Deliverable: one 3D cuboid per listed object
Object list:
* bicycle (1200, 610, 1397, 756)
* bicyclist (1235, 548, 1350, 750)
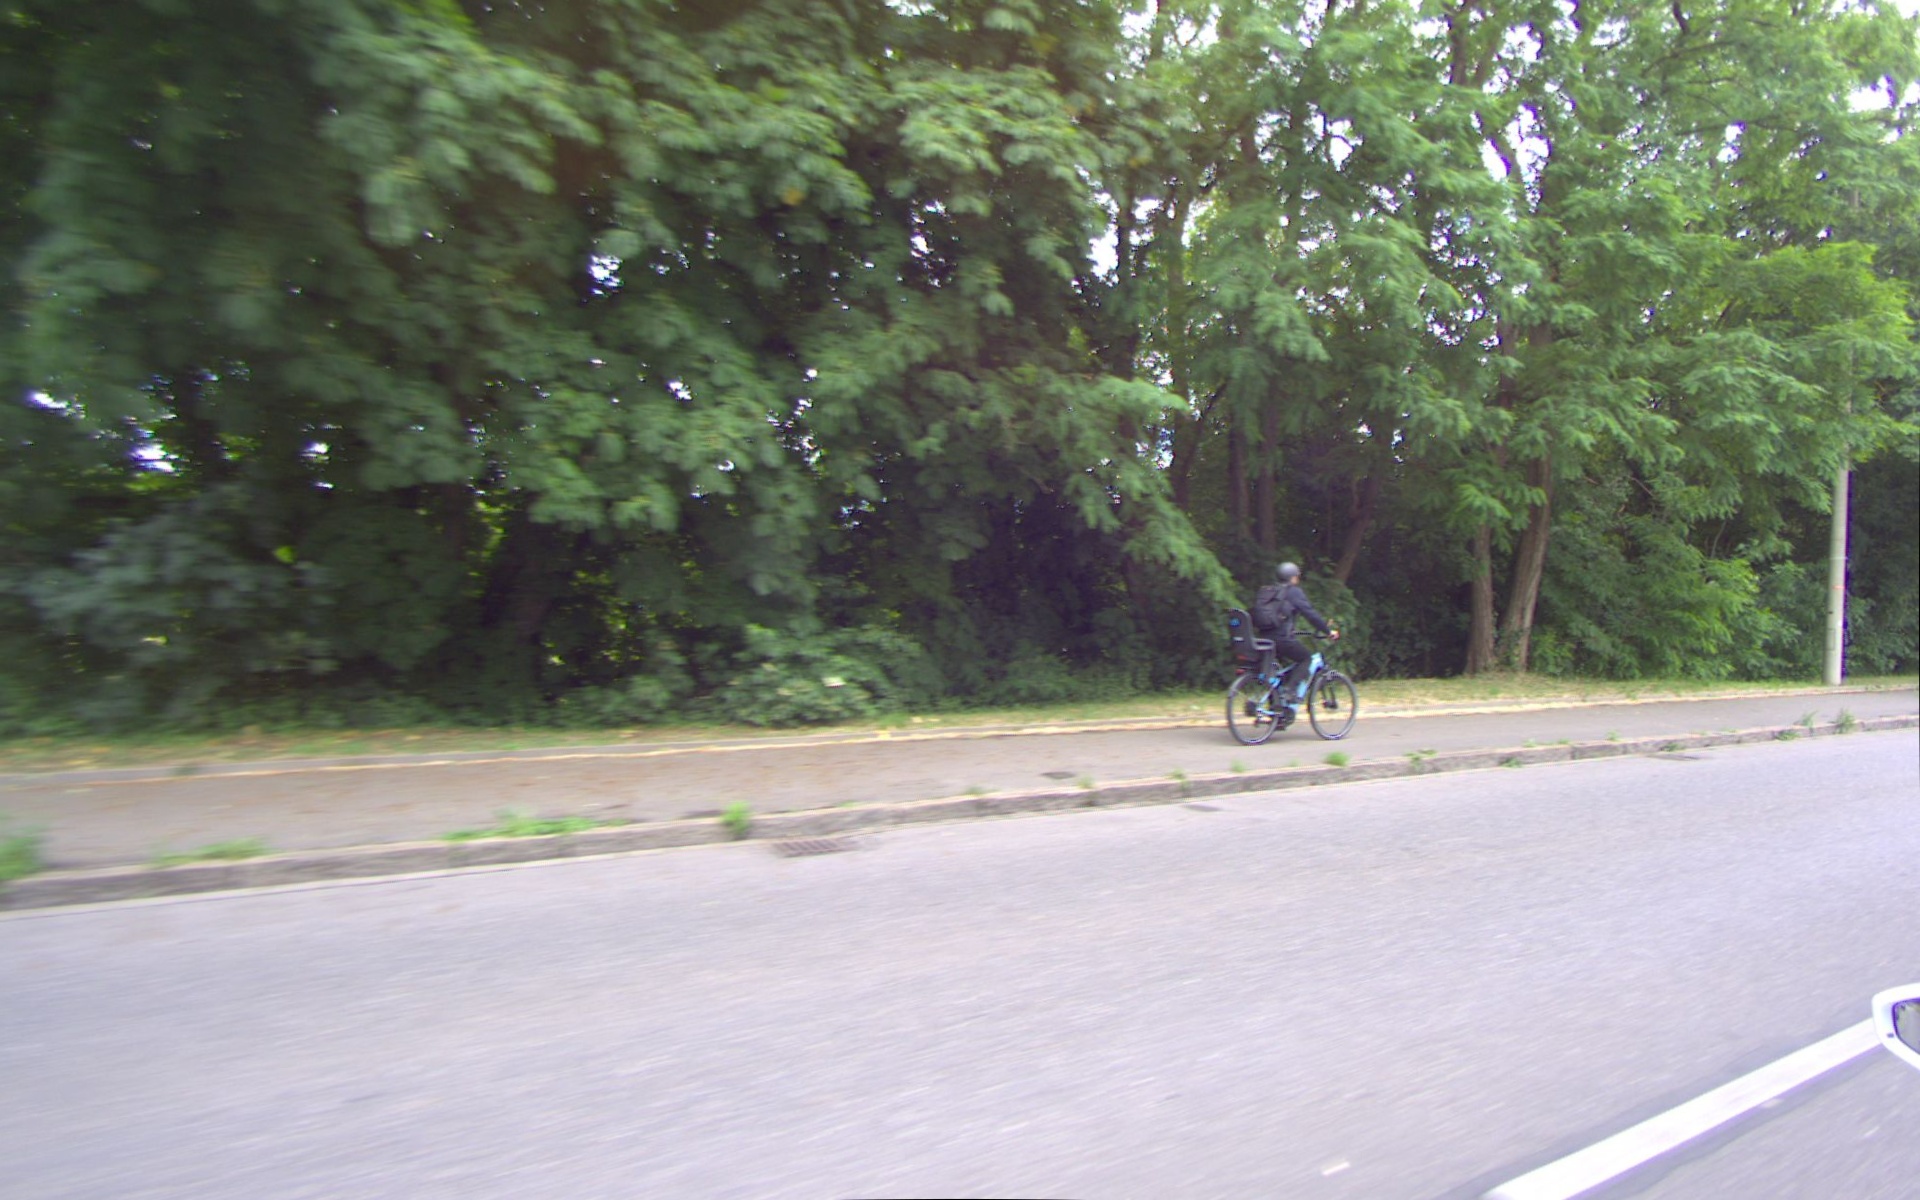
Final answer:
[{"bbox_3d":[3.557,0.801,10.446,2.257,1.349,0.694,1,2,-35],"label":"bicycle"},{"bbox_3d":[3.413,0.479,10.326,0.827,1.974,0.682,1,2,-34],"label":"bicyclist"}]
